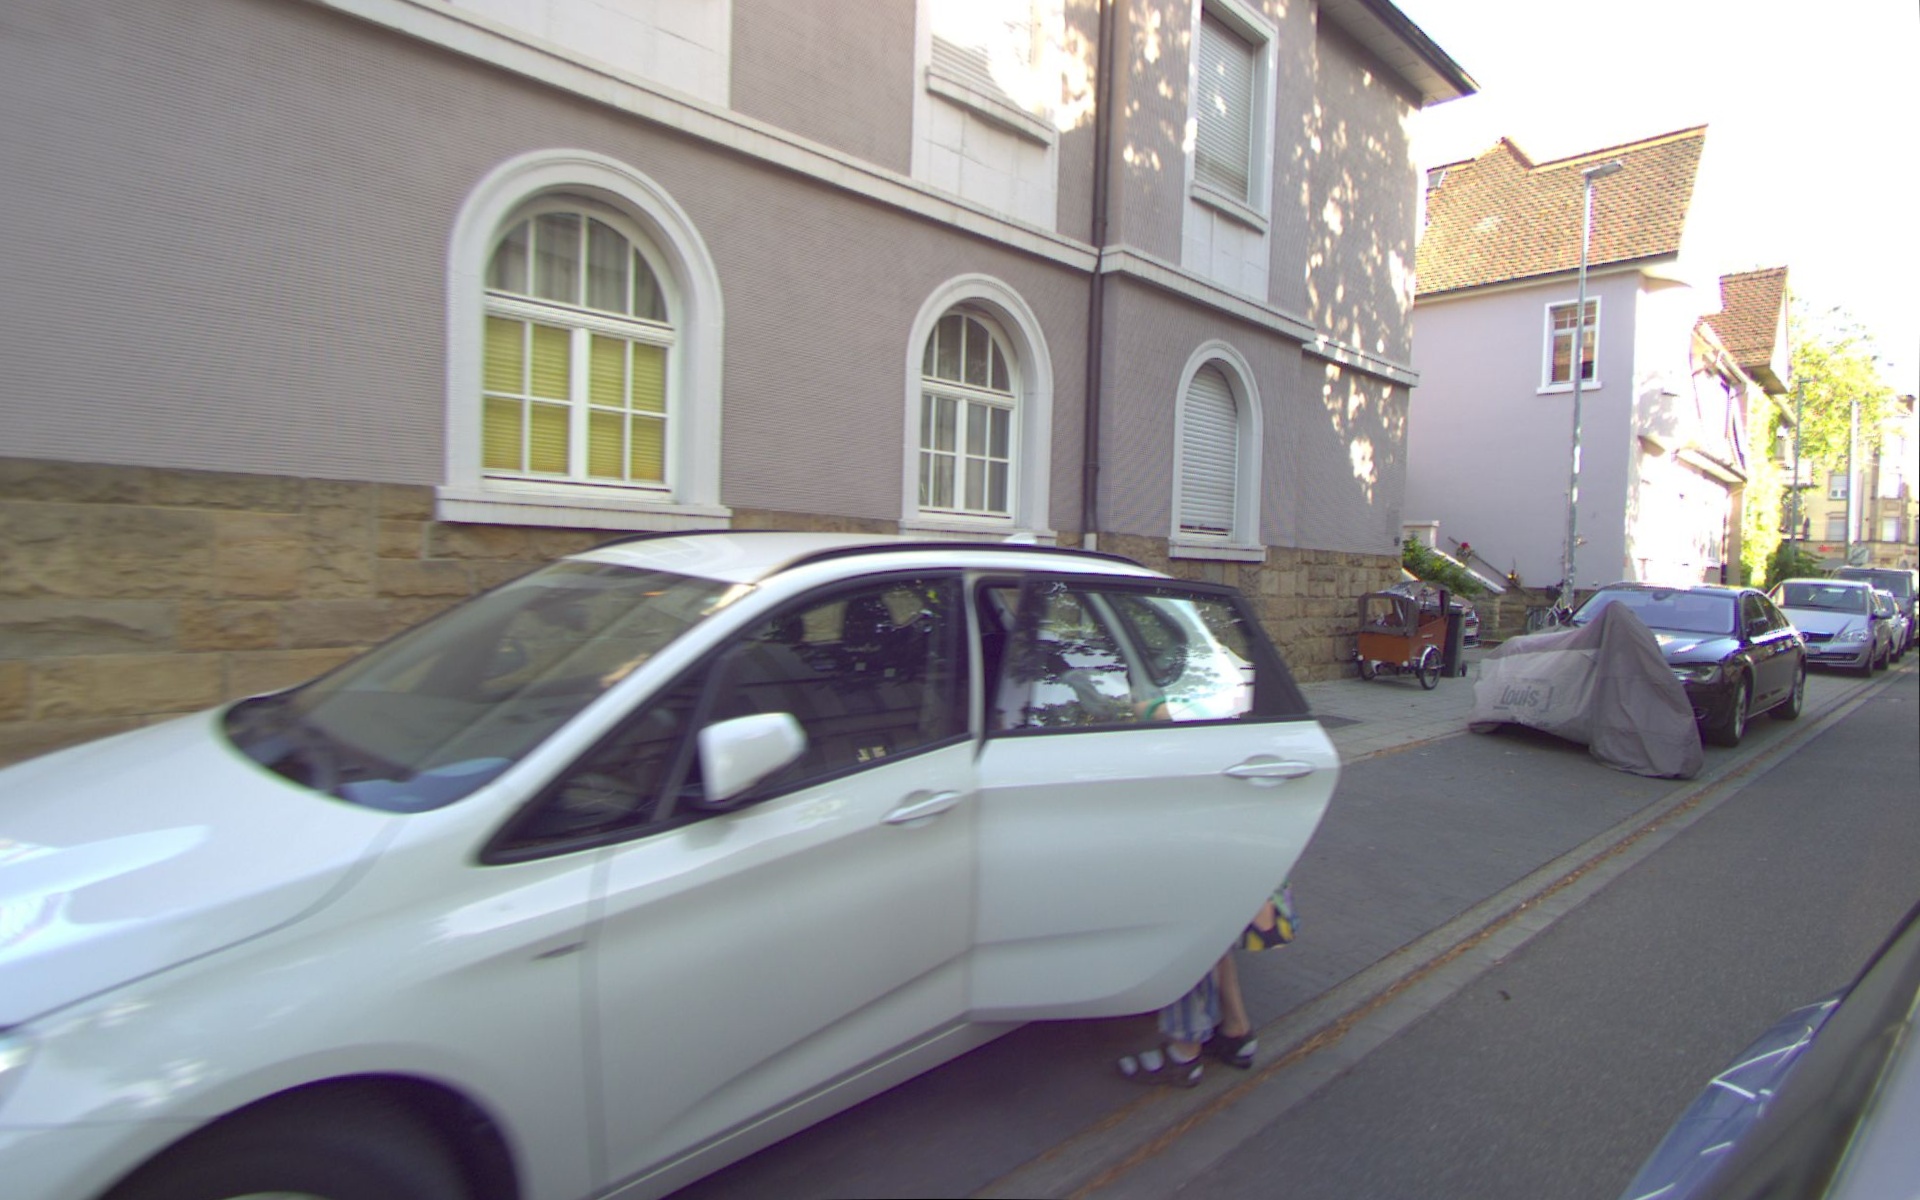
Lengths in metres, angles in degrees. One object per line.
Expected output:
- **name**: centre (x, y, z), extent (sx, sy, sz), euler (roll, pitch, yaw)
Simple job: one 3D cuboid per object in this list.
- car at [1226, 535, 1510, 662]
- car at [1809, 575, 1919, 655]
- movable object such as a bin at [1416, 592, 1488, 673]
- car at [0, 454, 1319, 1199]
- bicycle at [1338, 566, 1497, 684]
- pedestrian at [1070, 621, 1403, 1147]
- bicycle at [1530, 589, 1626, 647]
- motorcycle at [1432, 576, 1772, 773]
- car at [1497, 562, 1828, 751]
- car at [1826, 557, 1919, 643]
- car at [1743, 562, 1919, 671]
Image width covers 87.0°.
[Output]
- **car**: centre (6.893, -0.132, 17.437), extent (1.736, 1.865, 4.145), euler (-1, 4, -43)
- **car**: centre (19.567, 0.256, 21.735), extent (1.680, 1.475, 4.368), euler (4, 4, 44)
- **movable object such as a bin**: centre (6.932, 0.438, 14.256), extent (0.648, 1.052, 0.815), euler (4, 3, 45)
- **car**: centre (-0.746, 0.504, 2.939), extent (4.088, 1.557, 1.701), euler (-1, 5, -45)
- **bicycle**: centre (5.925, 0.268, 13.047), extent (2.213, 1.354, 1.083), euler (-1, 4, -44)
- **pedestrian**: centre (0.831, 0.736, 3.047), extent (0.723, 1.273, 0.637), euler (4, 3, 40)
- **bicycle**: centre (12.936, 0.356, 21.223), extent (0.389, 1.114, 1.637), euler (0, 3, -44)
- **motorcycle**: centre (5.323, 0.528, 8.574), extent (0.903, 1.355, 2.202), euler (1, 3, -34)
- **car**: centre (7.603, 0.430, 10.767), extent (4.529, 1.511, 1.858), euler (-1, 5, -42)
- **car**: centre (23.718, -0.046, 25.795), extent (4.702, 1.939, 1.868), euler (-1, 5, -43)
- **car**: centre (15.584, 0.195, 18.044), extent (3.932, 1.619, 1.793), euler (-1, 6, -42)
